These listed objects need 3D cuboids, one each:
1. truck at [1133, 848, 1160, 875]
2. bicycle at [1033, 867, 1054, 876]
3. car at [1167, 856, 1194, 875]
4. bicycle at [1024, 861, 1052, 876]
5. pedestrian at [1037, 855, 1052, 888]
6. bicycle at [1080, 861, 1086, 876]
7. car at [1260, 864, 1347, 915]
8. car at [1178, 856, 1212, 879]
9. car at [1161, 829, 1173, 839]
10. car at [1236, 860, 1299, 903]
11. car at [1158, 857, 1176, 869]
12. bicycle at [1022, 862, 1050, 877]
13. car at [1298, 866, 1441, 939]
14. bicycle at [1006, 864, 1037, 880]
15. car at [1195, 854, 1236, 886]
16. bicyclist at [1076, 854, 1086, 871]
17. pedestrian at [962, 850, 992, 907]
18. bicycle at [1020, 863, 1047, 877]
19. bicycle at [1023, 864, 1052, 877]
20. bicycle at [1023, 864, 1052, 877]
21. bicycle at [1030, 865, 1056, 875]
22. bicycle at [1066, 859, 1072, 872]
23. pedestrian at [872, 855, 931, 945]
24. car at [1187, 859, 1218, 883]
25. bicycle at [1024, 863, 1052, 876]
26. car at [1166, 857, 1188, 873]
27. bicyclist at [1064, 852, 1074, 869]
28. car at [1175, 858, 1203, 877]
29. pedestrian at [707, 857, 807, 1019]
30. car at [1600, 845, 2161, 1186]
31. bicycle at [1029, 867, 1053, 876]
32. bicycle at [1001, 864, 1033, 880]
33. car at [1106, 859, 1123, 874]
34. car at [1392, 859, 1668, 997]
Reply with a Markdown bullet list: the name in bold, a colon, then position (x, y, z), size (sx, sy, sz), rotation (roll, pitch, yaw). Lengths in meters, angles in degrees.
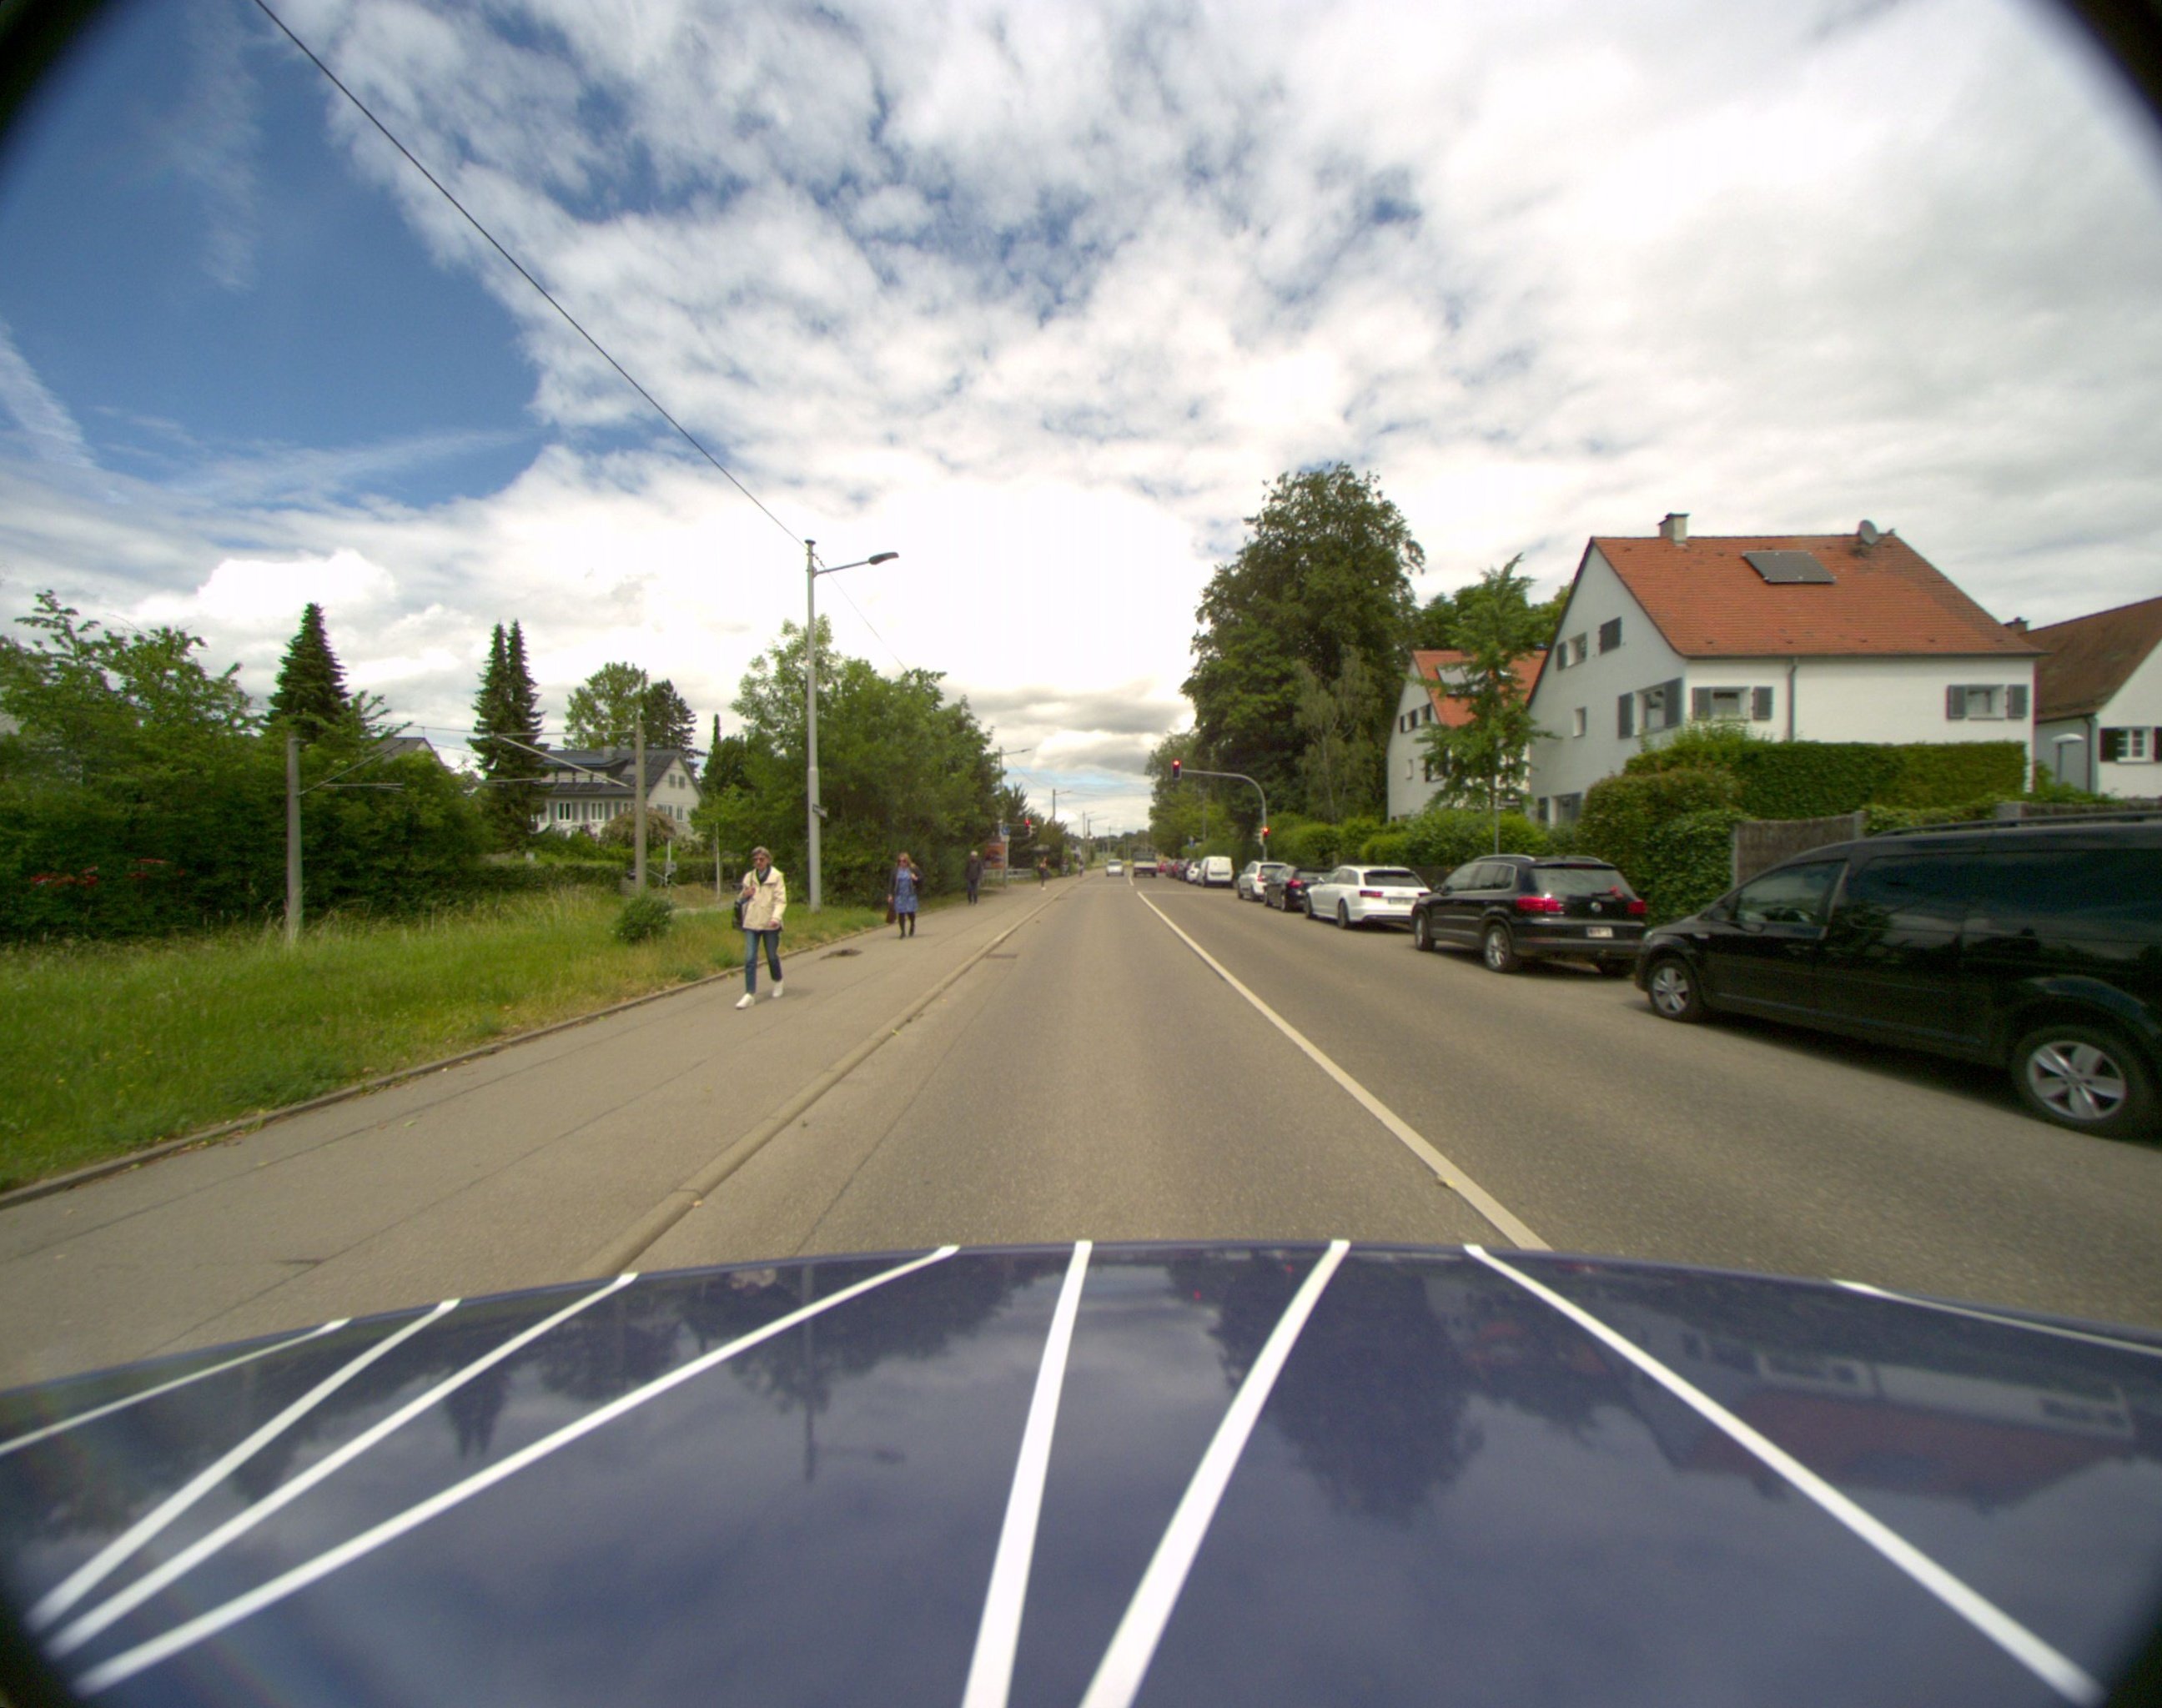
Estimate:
- **truck**: position (5.924, 0.650, 69.539), size (2.194, 2.357, 6.906), rotation (1, 0, 3)
- **bicycle**: position (-3.111, 1.449, 62.629), size (1.682, 0.635, 0.332), rotation (-2, 1, -8)
- **car**: position (8.638, 0.979, 66.306), size (1.794, 1.601, 4.417), rotation (0, 0, 1)
- **bicycle**: position (-3.489, 1.194, 62.049), size (2.204, 1.143, 0.451), rotation (0, 1, 8)
- **pedestrian**: position (-1.890, 0.900, 39.353), size (0.649, 1.655, 0.708), rotation (-2, 1, 7)
- **bicycle**: position (0.177, 1.324, 68.957), size (0.451, 1.278, 2.207), rotation (-2, 0, -2)
- **car**: position (6.973, 1.064, 24.255), size (1.746, 1.402, 4.324), rotation (1, 0, 3)
- **car**: position (8.305, 0.961, 55.909), size (1.901, 1.584, 4.644), rotation (0, 0, 1)
- **car**: position (12.754, -2.924, 112.375), size (1.675, 1.363, 3.608), rotation (1, 0, 8)
- **car**: position (7.206, 1.022, 29.684), size (1.706, 1.534, 3.744), rotation (1, 0, 3)
- **car**: position (10.560, 1.122, 93.240), size (1.971, 1.394, 4.067), rotation (0, 0, 4)
- **bicycle**: position (-3.515, 1.211, 59.602), size (2.094, 1.144, 0.530), rotation (-1, 1, 0)
- **car**: position (6.819, 1.067, 18.611), size (1.809, 1.450, 5.070), rotation (1, 0, 3)
- **bicycle**: position (-4.193, 1.268, 53.549), size (2.093, 1.041, 0.559), rotation (-3, 1, 5)
- **car**: position (7.867, 0.910, 44.912), size (1.680, 1.748, 4.608), rotation (1, 0, 2)
- **bicyclist**: position (0.009, 0.751, 68.919), size (0.826, 1.529, 0.862), rotation (-2, 1, 0)
- **pedestrian**: position (-3.520, 0.825, 25.831), size (0.746, 1.872, 0.802), rotation (-2, 1, 8)
- **bicycle**: position (-3.679, 1.220, 58.821), size (2.090, 1.041, 0.451), rotation (1, 1, 23)
- **bicycle**: position (-3.459, 1.299, 60.595), size (2.206, 1.041, 0.451), rotation (-1, 1, 1)
- **bicycle**: position (-3.421, 1.303, 60.115), size (2.206, 0.932, 0.451), rotation (-2, 1, 0)
- **bicycle**: position (-3.219, 1.353, 64.407), size (2.080, 0.821, 0.451), rotation (-2, 1, 8)
- **bicycle**: position (-1.061, 1.029, 68.392), size (0.451, 1.143, 2.208), rotation (0, 0, 2)
- **pedestrian**: position (-3.437, 0.868, 14.580), size (0.841, 1.649, 0.766), rotation (-2, 1, 6)
- **car**: position (7.929, 1.066, 50.024), size (1.708, 1.445, 4.359), rotation (3, 0, 6)
- **bicycle**: position (-3.487, 1.251, 61.623), size (2.204, 1.041, 0.451), rotation (0, 1, 8)
- **car**: position (9.133, 1.026, 72.307), size (1.761, 1.525, 4.328), rotation (0, 0, 3)
- **bicyclist**: position (-1.060, 0.581, 68.275), size (0.826, 1.529, 0.862), rotation (0, 0, 2)
- **car**: position (8.648, 1.024, 60.974), size (1.737, 1.450, 4.238), rotation (0, 0, 2)
- **pedestrian**: position (-3.455, 0.871, 8.154), size (0.687, 1.649, 0.690), rotation (-2, 1, 6)
- **car**: position (6.706, 0.840, 5.847), size (2.072, 1.744, 4.883), rotation (-2, 0, 0)
- **bicycle**: position (-3.313, 1.454, 62.907), size (1.988, 0.635, 0.332), rotation (-2, 1, -8)
- **bicycle**: position (-4.390, 1.204, 52.150), size (2.093, 1.074, 0.547), rotation (0, 1, 5)
- **car**: position (3.349, 1.225, 75.481), size (1.665, 1.394, 3.900), rotation (0, 0, 2)
- **car**: position (6.602, 0.953, 11.881), size (1.630, 1.668, 4.584), rotation (2, 0, 1)
